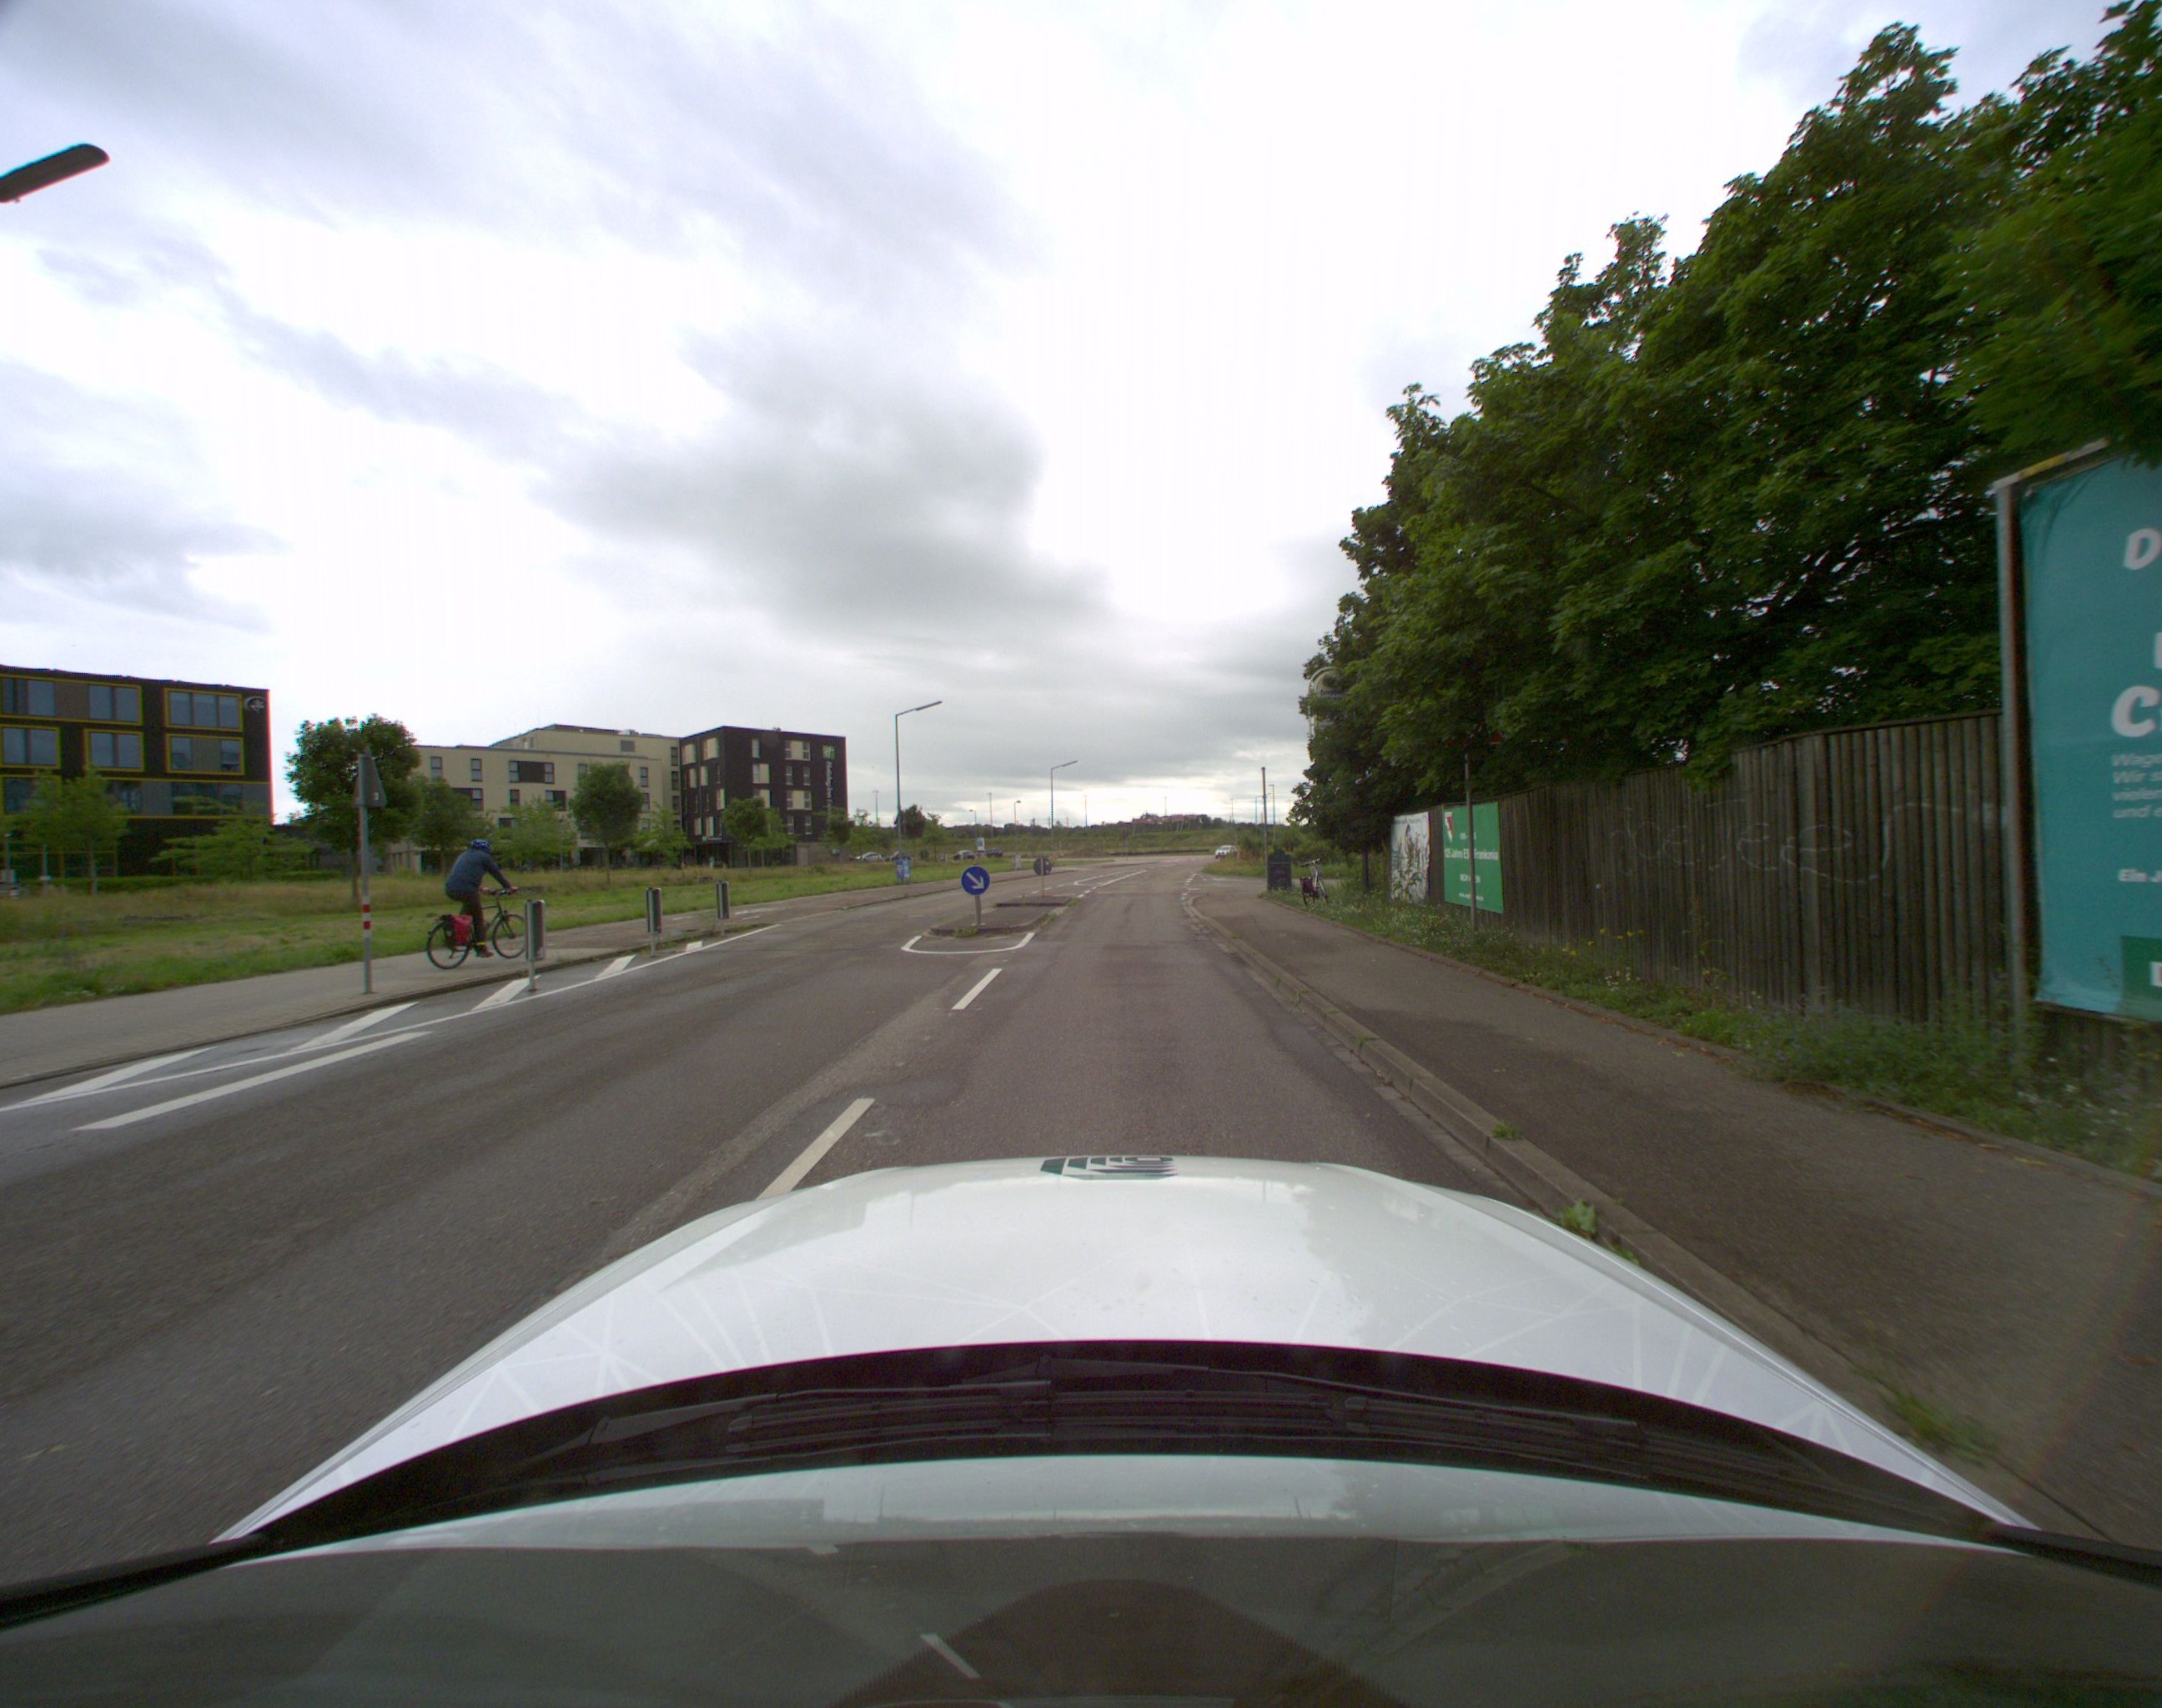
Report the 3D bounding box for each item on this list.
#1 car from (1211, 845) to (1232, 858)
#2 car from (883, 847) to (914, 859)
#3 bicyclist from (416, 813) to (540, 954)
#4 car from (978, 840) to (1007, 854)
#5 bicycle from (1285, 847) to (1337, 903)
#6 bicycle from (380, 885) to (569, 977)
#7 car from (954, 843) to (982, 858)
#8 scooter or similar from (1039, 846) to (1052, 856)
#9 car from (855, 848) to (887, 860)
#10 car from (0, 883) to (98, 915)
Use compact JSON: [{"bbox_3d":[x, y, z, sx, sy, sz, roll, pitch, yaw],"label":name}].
[{"bbox_3d":[16.677,-0.332,96.623,1.657,1.461,4.078,0,1,21],"label":"car"},{"bbox_3d":[-25.347,-0.183,113.317,1.677,1.442,4.026,-1,2,40],"label":"car"},{"bbox_3d":[-9.134,0.406,12.401,0.858,2.013,1.178,-3,1,2],"label":"bicyclist"},{"bbox_3d":[-12.670,-1.012,116.381,3.949,1.822,2.013,-1,2,43],"label":"car"},{"bbox_3d":[5.073,0.432,17.890,0.788,1.111,1.963,-2,1,24],"label":"bicycle"},{"bbox_3d":[-9.102,1.103,12.409,0.880,1.052,2.471,-3,2,3],"label":"bicycle"},{"bbox_3d":[-16.761,-0.503,120.681,2.011,2.013,3.952,-4,2,-42],"label":"car"},{"bbox_3d":[-4.193,-0.334,96.290,1.451,1.168,0.574,-1,1,16],"label":"scooter or similar"},{"bbox_3d":[-30.488,-0.064,118.536,1.974,1.517,4.181,-2,2,34],"label":"car"},{"bbox_3d":[-61.974,2.678,48.623,1.974,1.523,4.027,-3,1,37],"label":"car"}]
